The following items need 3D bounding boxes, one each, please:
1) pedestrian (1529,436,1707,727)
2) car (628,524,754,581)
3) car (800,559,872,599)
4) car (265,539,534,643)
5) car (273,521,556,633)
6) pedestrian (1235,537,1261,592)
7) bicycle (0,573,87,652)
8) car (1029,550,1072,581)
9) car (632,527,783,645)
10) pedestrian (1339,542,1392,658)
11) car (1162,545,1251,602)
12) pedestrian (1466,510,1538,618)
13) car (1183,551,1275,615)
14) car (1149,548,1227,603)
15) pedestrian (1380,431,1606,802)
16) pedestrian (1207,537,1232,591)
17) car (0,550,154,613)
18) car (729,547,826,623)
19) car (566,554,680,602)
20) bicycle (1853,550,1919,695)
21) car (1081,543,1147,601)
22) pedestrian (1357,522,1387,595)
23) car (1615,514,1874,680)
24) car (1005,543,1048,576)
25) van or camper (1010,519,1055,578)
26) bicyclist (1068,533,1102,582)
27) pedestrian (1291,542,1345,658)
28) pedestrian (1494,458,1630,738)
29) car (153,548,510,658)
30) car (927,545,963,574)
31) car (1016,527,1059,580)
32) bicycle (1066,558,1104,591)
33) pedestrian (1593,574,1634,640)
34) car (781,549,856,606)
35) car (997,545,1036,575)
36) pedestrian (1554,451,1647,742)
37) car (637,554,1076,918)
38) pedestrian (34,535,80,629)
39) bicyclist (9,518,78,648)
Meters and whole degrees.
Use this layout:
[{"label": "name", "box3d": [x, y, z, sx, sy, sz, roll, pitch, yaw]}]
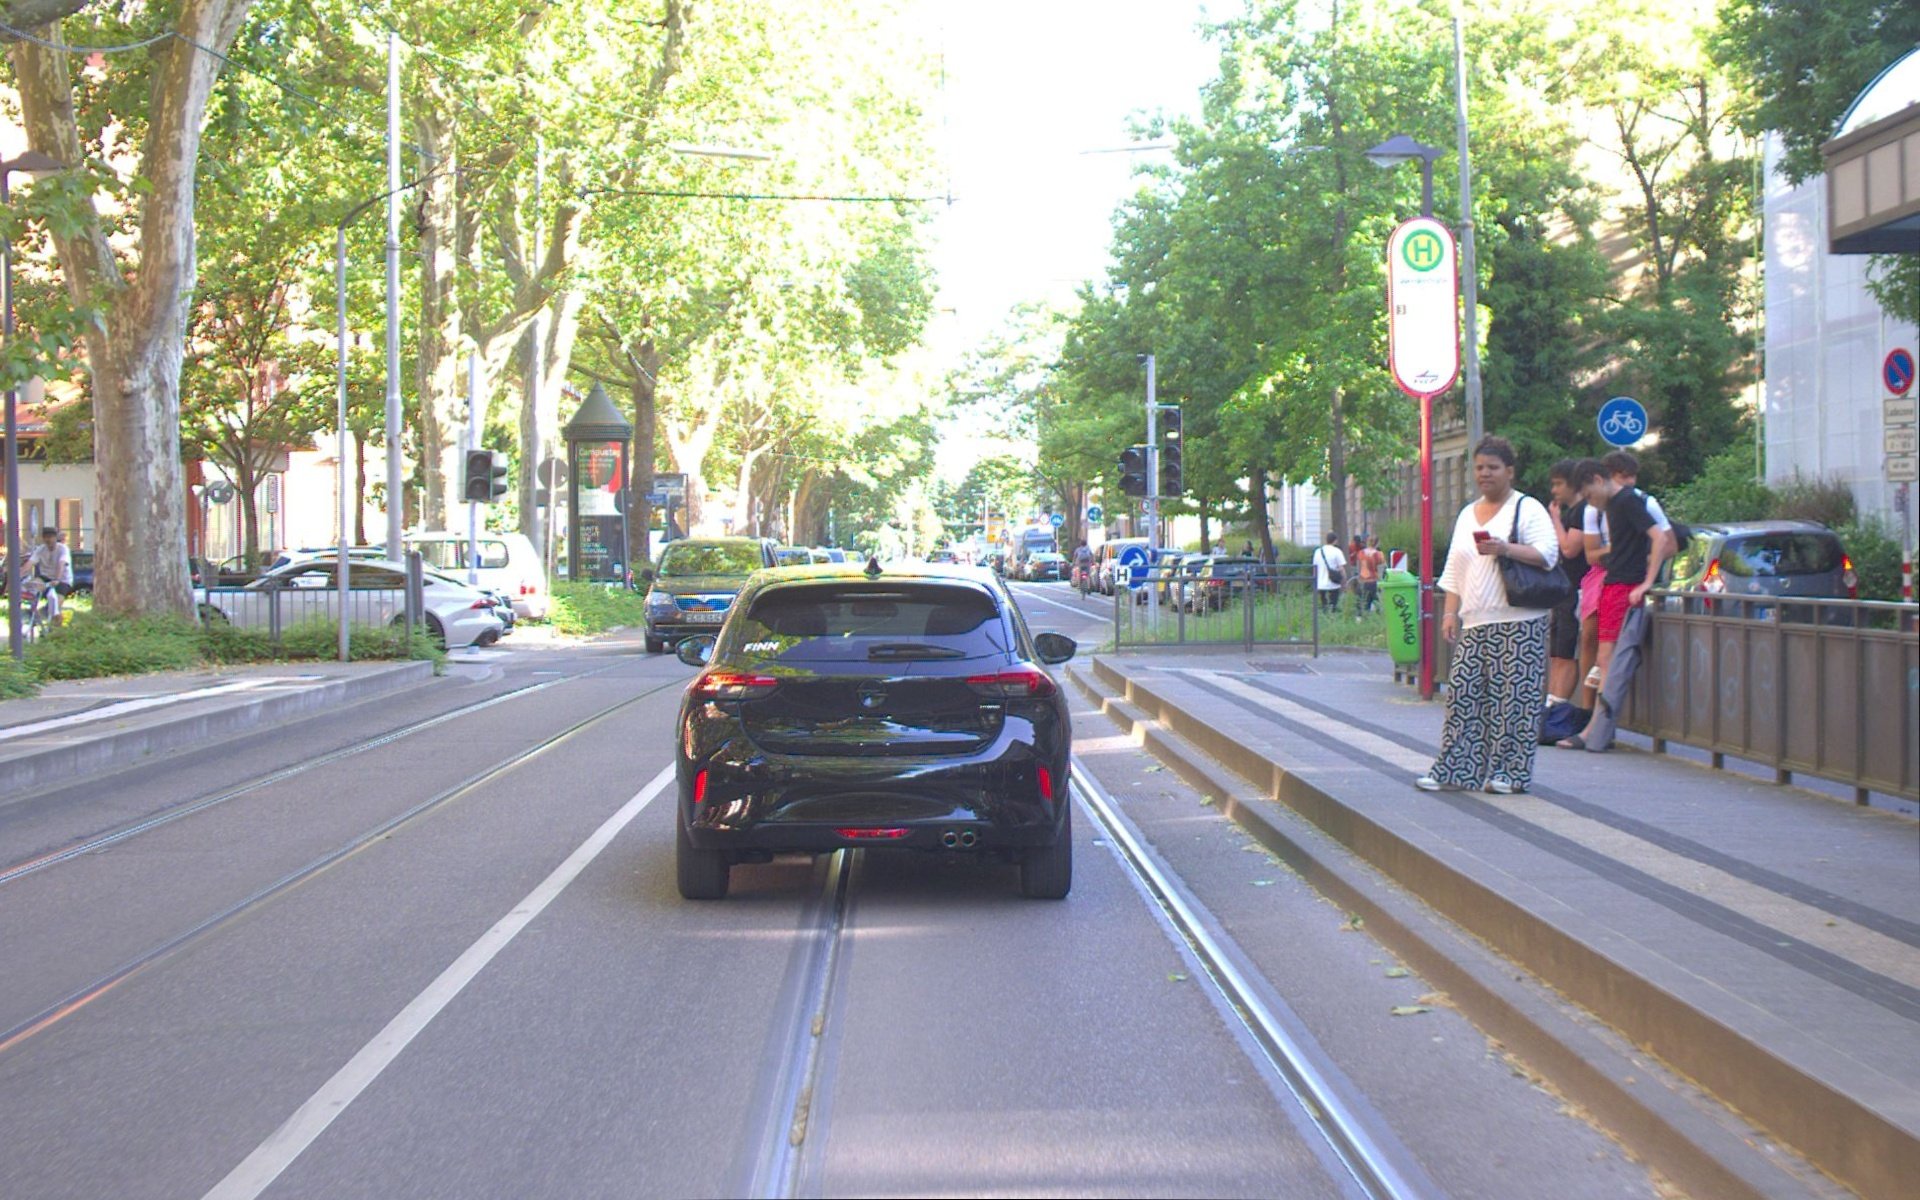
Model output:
[{"label": "pedestrian", "box3d": [3.915, -0.112, 20.500, 0.844, 1.695, 0.693, 1, 0, -7]}, {"label": "car", "box3d": [-10.856, -1.918, 138.869, 5.032, 2.251, 2.086, 1, 1, -4]}, {"label": "car", "box3d": [-4.556, -0.781, 126.341, 1.660, 1.439, 3.474, 1, 1, -19]}, {"label": "car", "box3d": [-9.209, -0.158, 56.721, 4.139, 1.641, 1.902, 1, 0, -2]}, {"label": "car", "box3d": [-9.304, -0.393, 58.929, 4.570, 1.828, 1.939, 1, 0, -2]}, {"label": "pedestrian", "box3d": [9.029, -1.117, 107.769, 0.726, 1.703, 0.856, 1, 0, 2]}, {"label": "bicycle", "box3d": [-12.757, 0.162, 47.825, 0.715, 1.060, 1.839, 1, 1, 1]}, {"label": "car", "box3d": [4.409, -1.697, 168.022, 1.884, 1.429, 4.530, -2, 1, -1]}, {"label": "car", "box3d": [-3.830, -0.230, 52.850, 1.993, 1.710, 5.143, 1, 1, -1]}, {"label": "pedestrian", "box3d": [6.391, -0.011, 54.116, 0.726, 1.787, 0.967, -2, 1, 10]}, {"label": "car", "box3d": [6.315, -0.685, 88.592, 1.884, 1.363, 4.107, -2, 1, -1]}, {"label": "pedestrian", "box3d": [9.515, -0.636, 60.366, 0.867, 1.878, 0.998, 1, 0, -18]}, {"label": "car", "box3d": [6.376, -0.415, 81.759, 1.672, 1.407, 3.843, -2, 1, -2]}, {"label": "car", "box3d": [6.451, -0.703, 97.784, 1.884, 1.462, 4.594, -2, 1, 0]}, {"label": "pedestrian", "box3d": [2.527, 0.072, 16.329, 0.638, 1.707, 0.836, 1, 0, -35]}, {"label": "pedestrian", "box3d": [8.144, -1.135, 107.786, 0.726, 1.687, 0.957, 1, 0, 2]}, {"label": "car", "box3d": [-22.115, -0.456, 83.994, 4.526, 1.484, 1.861, 1, 0, -6]}, {"label": "car", "box3d": [-4.059, -0.353, 77.073, 1.908, 1.632, 4.321, -1, 1, 0]}, {"label": "car", "box3d": [-10.684, -0.704, 109.085, 3.420, 1.460, 1.697, 1, 0, 2]}, {"label": "bicycle", "box3d": [8.898, 0.159, 29.417, 2.204, 1.205, 1.029, -2, 0, 0]}, {"label": "car", "box3d": [5.241, -0.968, 117.838, 1.884, 1.845, 4.967, -2, 1, -1]}, {"label": "pedestrian", "box3d": [10.095, -1.017, 84.320, 0.598, 1.787, 0.728, 1, 0, -2]}, {"label": "car", "box3d": [8.344, -0.079, 36.930, 1.762, 1.616, 4.442, -2, 1, 1]}, {"label": "car", "box3d": [3.840, -2.327, 199.079, 2.254, 1.834, 5.531, -1, 1, -1]}, {"label": "van or camper", "box3d": [4.044, -2.864, 191.875, 2.254, 3.205, 5.531, -1, 1, -1]}, {"label": "bicyclist", "box3d": [3.854, -1.305, 106.325, 0.958, 1.494, 1.094, 1, 0, -2]}, {"label": "pedestrian", "box3d": [5.636, 0.001, 54.059, 0.726, 1.787, 0.853, -2, 1, 10]}, {"label": "pedestrian", "box3d": [3.825, -0.012, 21.869, 0.687, 1.749, 0.580, 1, 0, -7]}, {"label": "car", "box3d": [-8.775, 0.032, 48.329, 4.763, 1.455, 1.955, 1, 1, -5]}, {"label": "car", "box3d": [-0.978, -2.626, 222.311, 2.254, 1.834, 5.531, -1, 1, -1]}, {"label": "car", "box3d": [4.169, -2.521, 185.313, 2.085, 2.762, 4.698, -1, 1, -1]}, {"label": "bicycle", "box3d": [3.850, -0.797, 106.349, 0.968, 0.995, 2.583, 1, 1, -2]}, {"label": "pedestrian", "box3d": [11.319, 0.119, 59.565, 0.674, 1.115, 0.659, 1, 0, 11]}, {"label": "car", "box3d": [-3.703, -0.596, 90.624, 1.775, 1.456, 4.204, 1, 1, 0]}, {"label": "car", "box3d": [3.600, -2.539, 219.896, 2.254, 1.834, 5.531, -1, 1, -1]}, {"label": "pedestrian", "box3d": [3.965, -0.024, 21.262, 0.493, 1.764, 0.703, 1, 0, 14]}, {"label": "car", "box3d": [-0.444, 0.535, 15.959, 1.763, 1.455, 3.950, 1, 1, -1]}, {"label": "pedestrian", "box3d": [-17.518, -0.346, 66.703, 0.644, 1.803, 0.751, 1, 0, 5]}, {"label": "bicyclist", "box3d": [-12.745, -0.235, 47.823, 0.700, 1.782, 0.839, 1, 0, 1]}]
